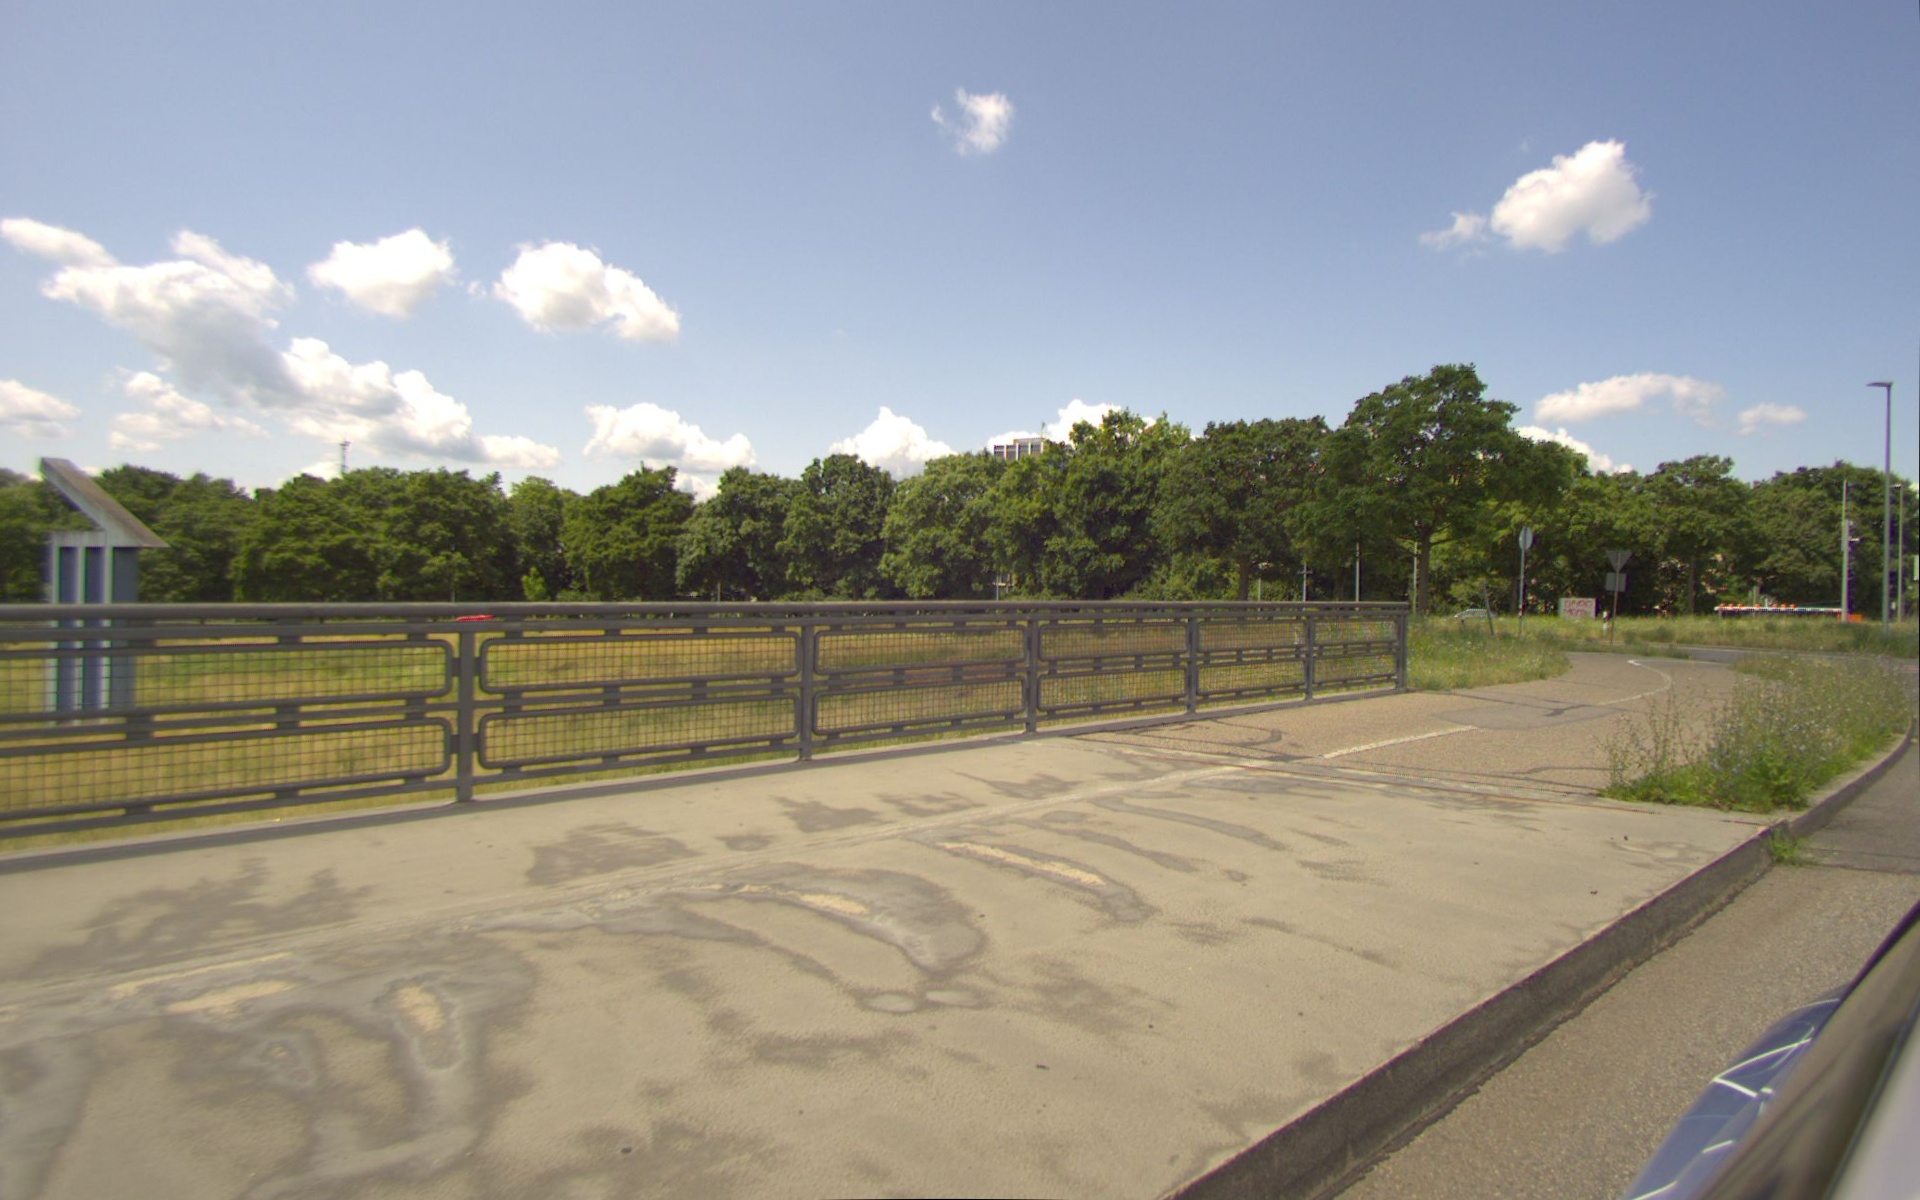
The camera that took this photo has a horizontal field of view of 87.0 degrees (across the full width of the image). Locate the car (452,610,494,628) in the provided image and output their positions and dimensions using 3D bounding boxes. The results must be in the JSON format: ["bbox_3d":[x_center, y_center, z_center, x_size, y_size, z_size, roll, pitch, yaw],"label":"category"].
[{"bbox_3d":[-54.699,2.098,113.587,3.944,2.039,1.989,0,-1,16],"label":"car"}]

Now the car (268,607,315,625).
[{"bbox_3d":[-75.530,1.798,114.408,3.921,1.906,2.001,0,-1,-4],"label":"car"}]
